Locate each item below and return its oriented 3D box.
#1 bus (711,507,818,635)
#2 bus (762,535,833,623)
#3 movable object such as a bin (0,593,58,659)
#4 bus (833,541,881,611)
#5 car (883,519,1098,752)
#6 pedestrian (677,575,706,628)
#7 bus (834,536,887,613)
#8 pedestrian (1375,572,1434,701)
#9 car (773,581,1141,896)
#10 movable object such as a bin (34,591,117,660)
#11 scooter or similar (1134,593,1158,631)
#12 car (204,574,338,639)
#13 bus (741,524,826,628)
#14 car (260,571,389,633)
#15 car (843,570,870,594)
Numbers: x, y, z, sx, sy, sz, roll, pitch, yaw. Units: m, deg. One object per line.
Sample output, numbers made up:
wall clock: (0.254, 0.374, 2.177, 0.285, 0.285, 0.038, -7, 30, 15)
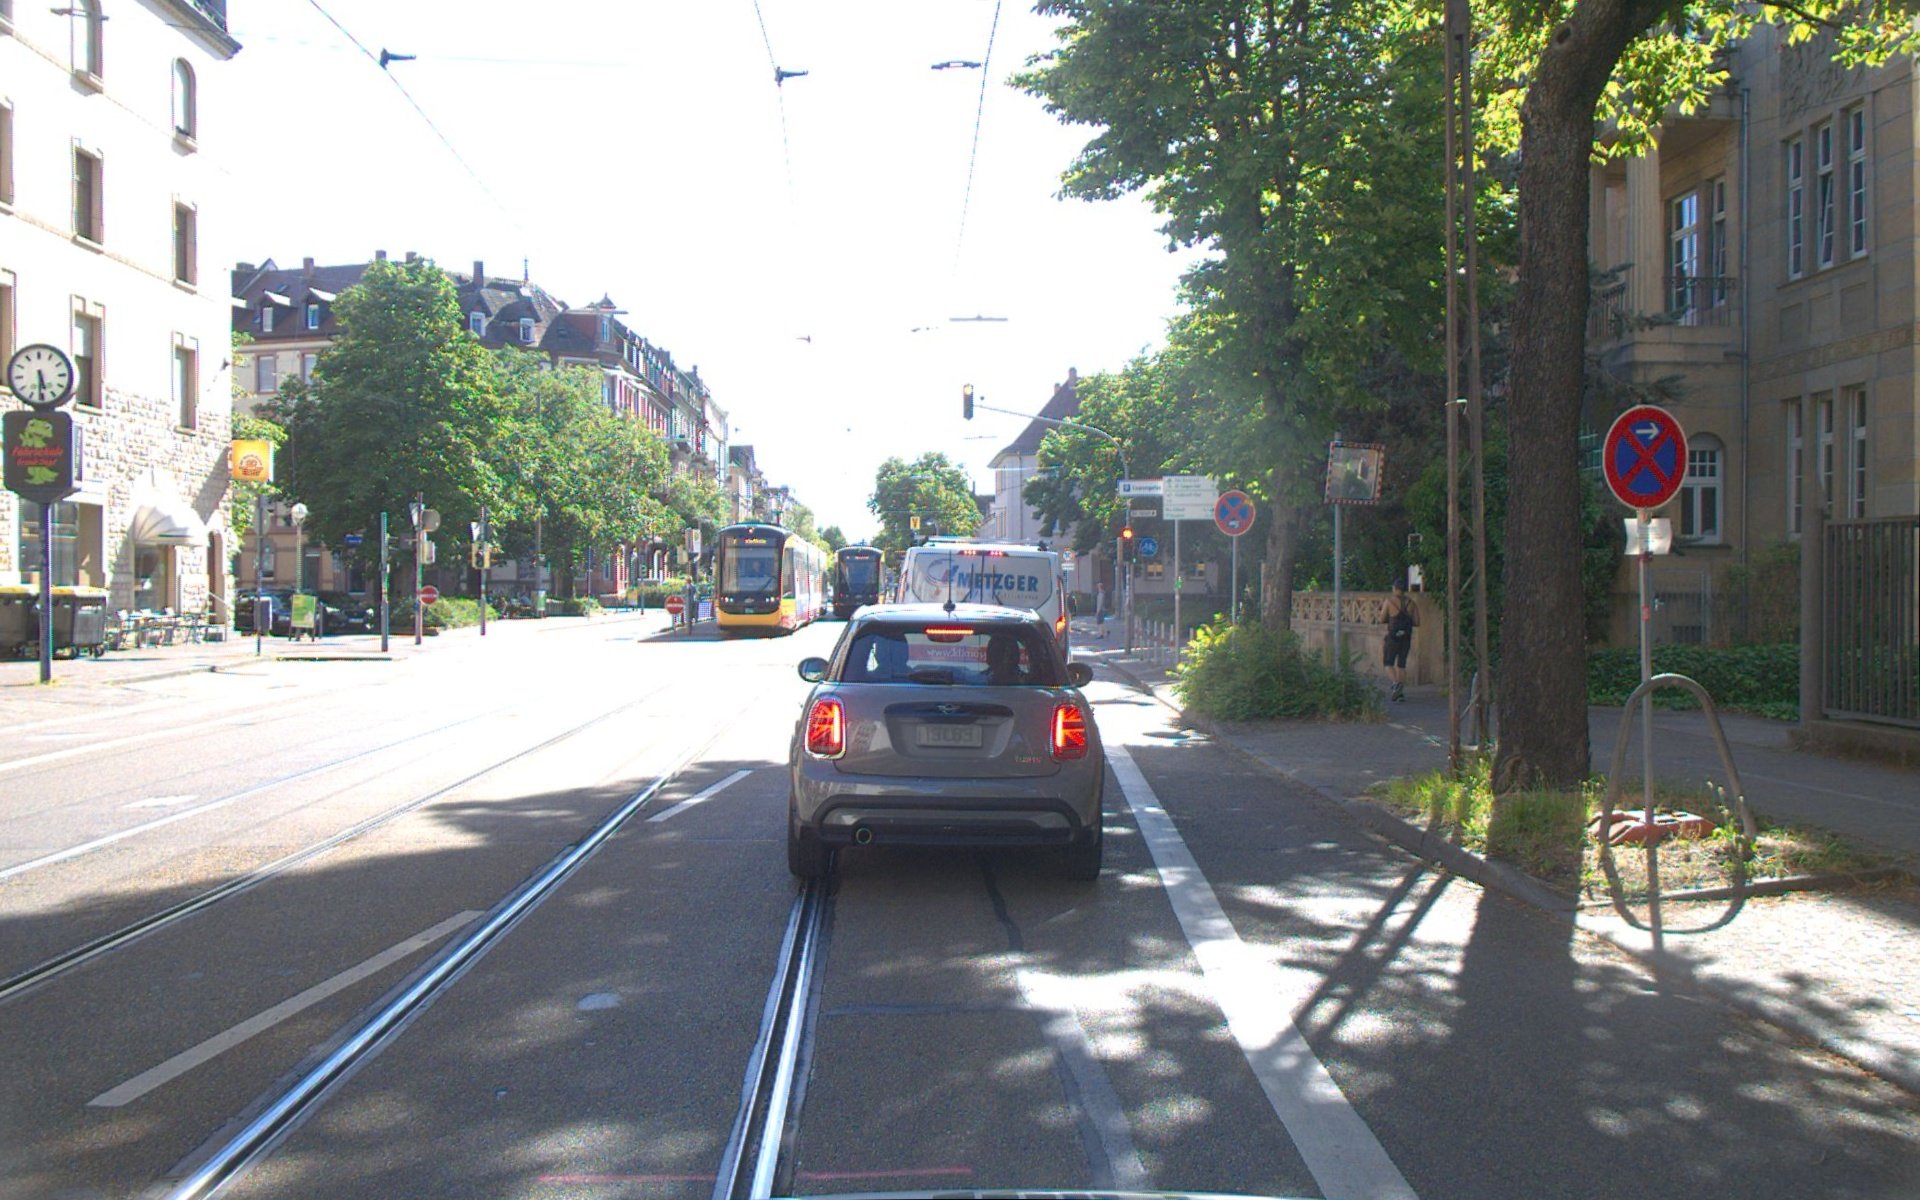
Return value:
bus: (-6.455, -0.864, 56.217, 2.803, 3.843, 11.490, 1, 0, -3)
bus: (-7.637, -0.895, 79.147, 2.793, 3.843, 12.189, 1, 0, -3)
movable object such as a bin: (-17.992, 0.486, 31.589, 0.815, 1.244, 1.244, 1, 0, 1)
bus: (-5.592, -1.214, 88.925, 2.339, 3.557, 7.376, 1, 0, -5)
car: (0.268, 0.362, 18.691, 2.075, 2.247, 4.943, 1, 0, -1)
pedestrian: (-9.360, 0.055, 57.742, 0.864, 1.833, 0.902, 1, -1, -2)
bus: (-4.955, -1.179, 81.509, 2.339, 3.557, 7.376, 1, 0, -5)
pedestrian: (6.005, 0.491, 22.370, 0.580, 1.700, 0.646, -2, 0, -1)
car: (-0.039, 0.687, 10.094, 1.778, 1.514, 3.999, 1, 0, -1)
movable object such as a bin: (-17.092, 0.486, 31.978, 0.925, 1.296, 1.144, 1, 0, 3)
scooter or similar: (6.608, 0.422, 58.915, 0.662, 1.333, 1.328, 1, 0, -2)
car: (-22.572, 0.209, 54.192, 3.910, 2.049, 1.997, 1, 0, 28)
bus: (-7.070, -0.865, 67.587, 2.803, 3.843, 11.176, 1, 0, -3)
car: (-21.624, 0.058, 56.283, 3.910, 2.049, 1.997, 1, 0, 28)
car: (-7.196, -1.239, 114.567, 1.827, 1.591, 3.996, 1, 0, -4)
